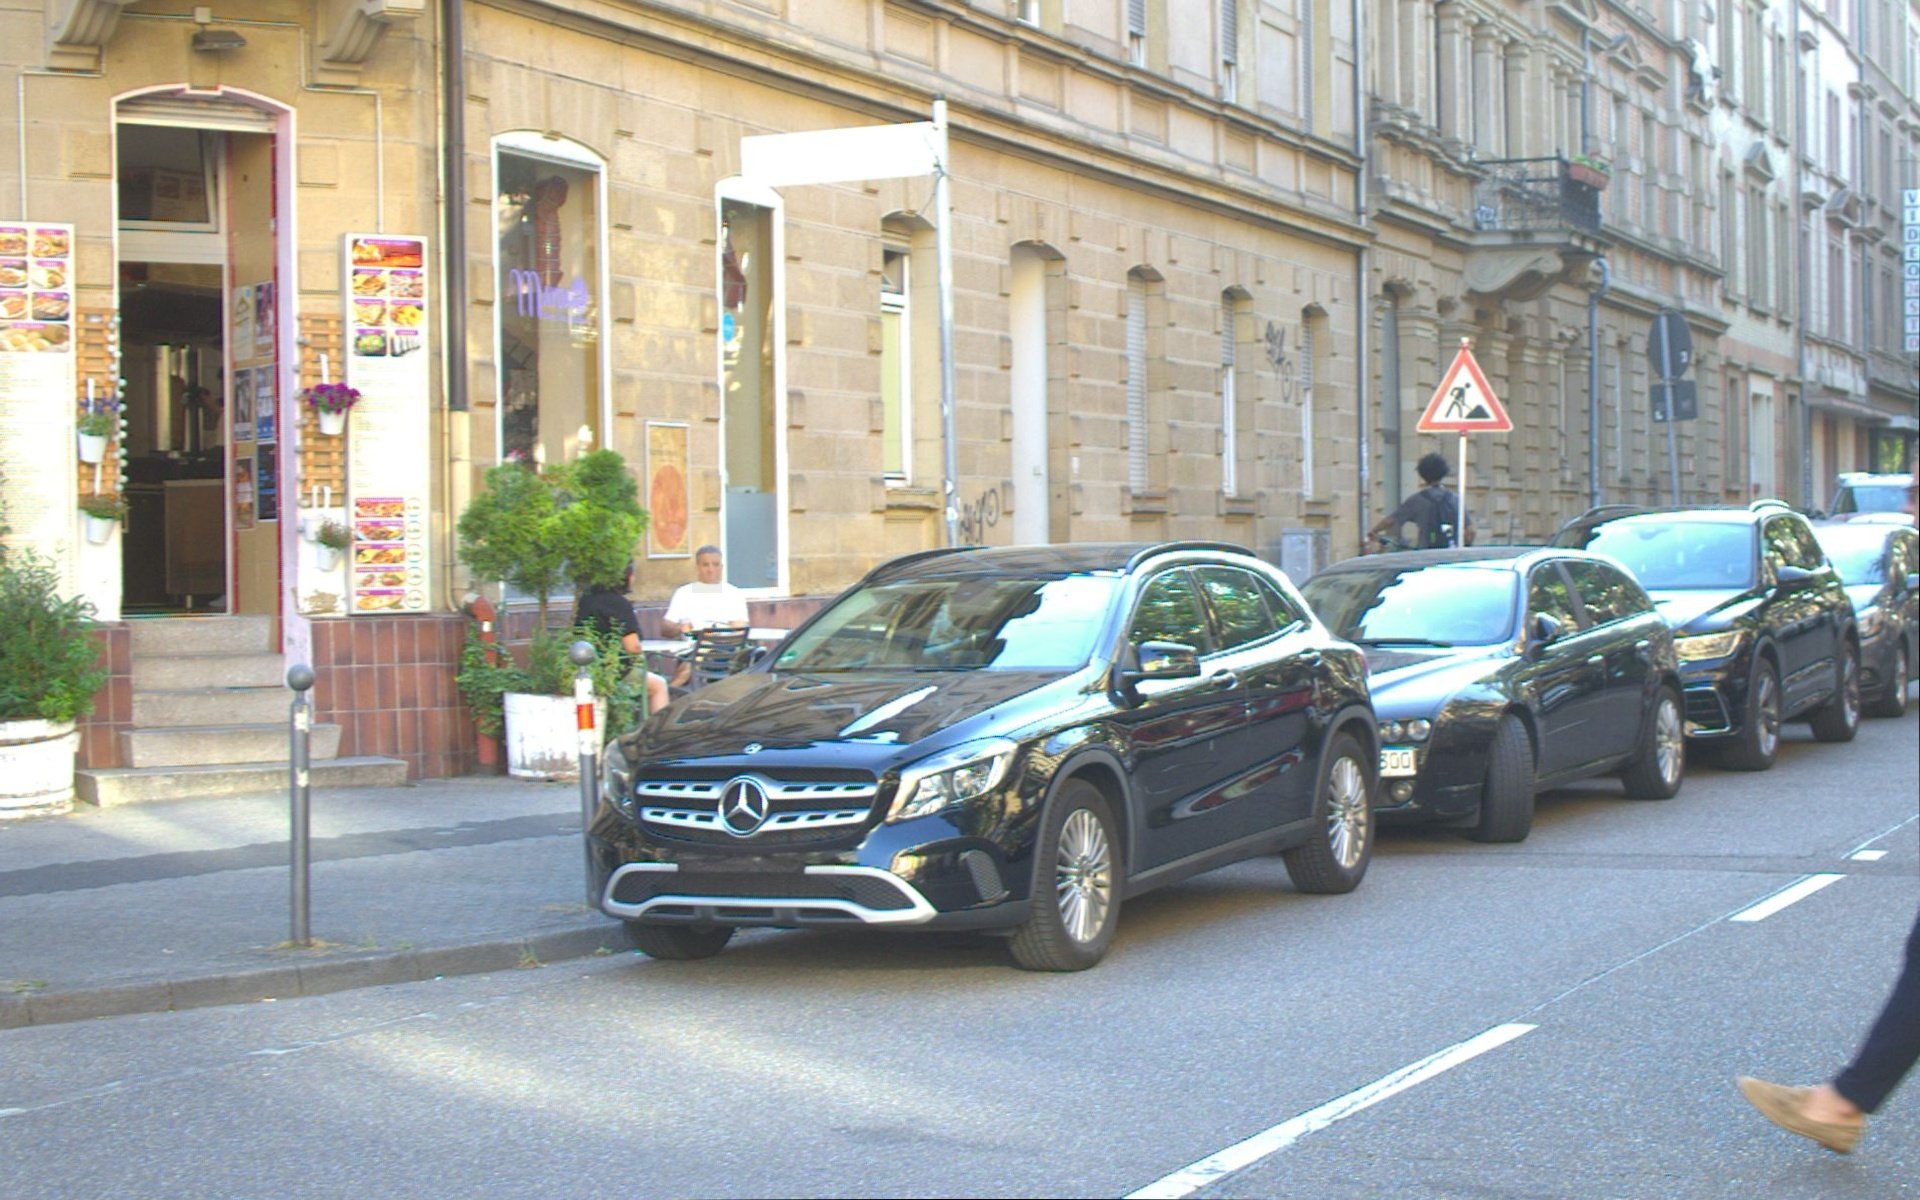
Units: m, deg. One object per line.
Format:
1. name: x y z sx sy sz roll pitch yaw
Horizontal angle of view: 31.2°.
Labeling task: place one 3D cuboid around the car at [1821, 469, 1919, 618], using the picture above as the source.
1. car: 13.194 -0.826 47.509 1.834 1.936 5.255 1 2 21

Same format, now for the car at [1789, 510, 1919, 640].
1. car: 11.335 -0.344 42.267 1.594 1.470 3.695 1 2 23

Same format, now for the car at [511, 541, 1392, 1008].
1. car: 0.156 0.552 13.384 1.761 1.482 4.133 -1 1 26

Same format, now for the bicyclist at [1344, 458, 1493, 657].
1. bicyclist: 4.263 -0.404 31.903 0.997 1.783 1.206 -1 2 25

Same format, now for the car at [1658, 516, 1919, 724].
1. car: 6.962 0.112 27.556 1.761 1.496 4.055 -1 1 25

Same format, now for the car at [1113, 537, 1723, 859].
1. car: 2.577 0.432 18.261 1.761 1.447 4.544 -1 1 27

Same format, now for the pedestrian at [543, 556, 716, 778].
1. pedestrian: -1.919 0.382 20.024 0.726 1.254 0.756 -1 1 20

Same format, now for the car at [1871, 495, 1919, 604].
1. car: 15.251 -0.807 53.066 1.755 1.603 4.379 1 2 22

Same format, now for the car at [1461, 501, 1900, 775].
1. car: 4.882 0.186 22.781 1.761 1.594 4.544 -1 1 26

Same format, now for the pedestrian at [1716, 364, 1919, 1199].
1. pedestrian: 2.379 0.418 7.889 1.115 1.892 0.842 -1 1 22

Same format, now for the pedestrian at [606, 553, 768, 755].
1. pedestrian: -1.675 0.323 21.167 0.726 1.209 0.756 -1 1 20

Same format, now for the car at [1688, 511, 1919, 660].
1. car: 9.408 -0.190 38.127 1.760 1.496 4.055 -1 1 24
